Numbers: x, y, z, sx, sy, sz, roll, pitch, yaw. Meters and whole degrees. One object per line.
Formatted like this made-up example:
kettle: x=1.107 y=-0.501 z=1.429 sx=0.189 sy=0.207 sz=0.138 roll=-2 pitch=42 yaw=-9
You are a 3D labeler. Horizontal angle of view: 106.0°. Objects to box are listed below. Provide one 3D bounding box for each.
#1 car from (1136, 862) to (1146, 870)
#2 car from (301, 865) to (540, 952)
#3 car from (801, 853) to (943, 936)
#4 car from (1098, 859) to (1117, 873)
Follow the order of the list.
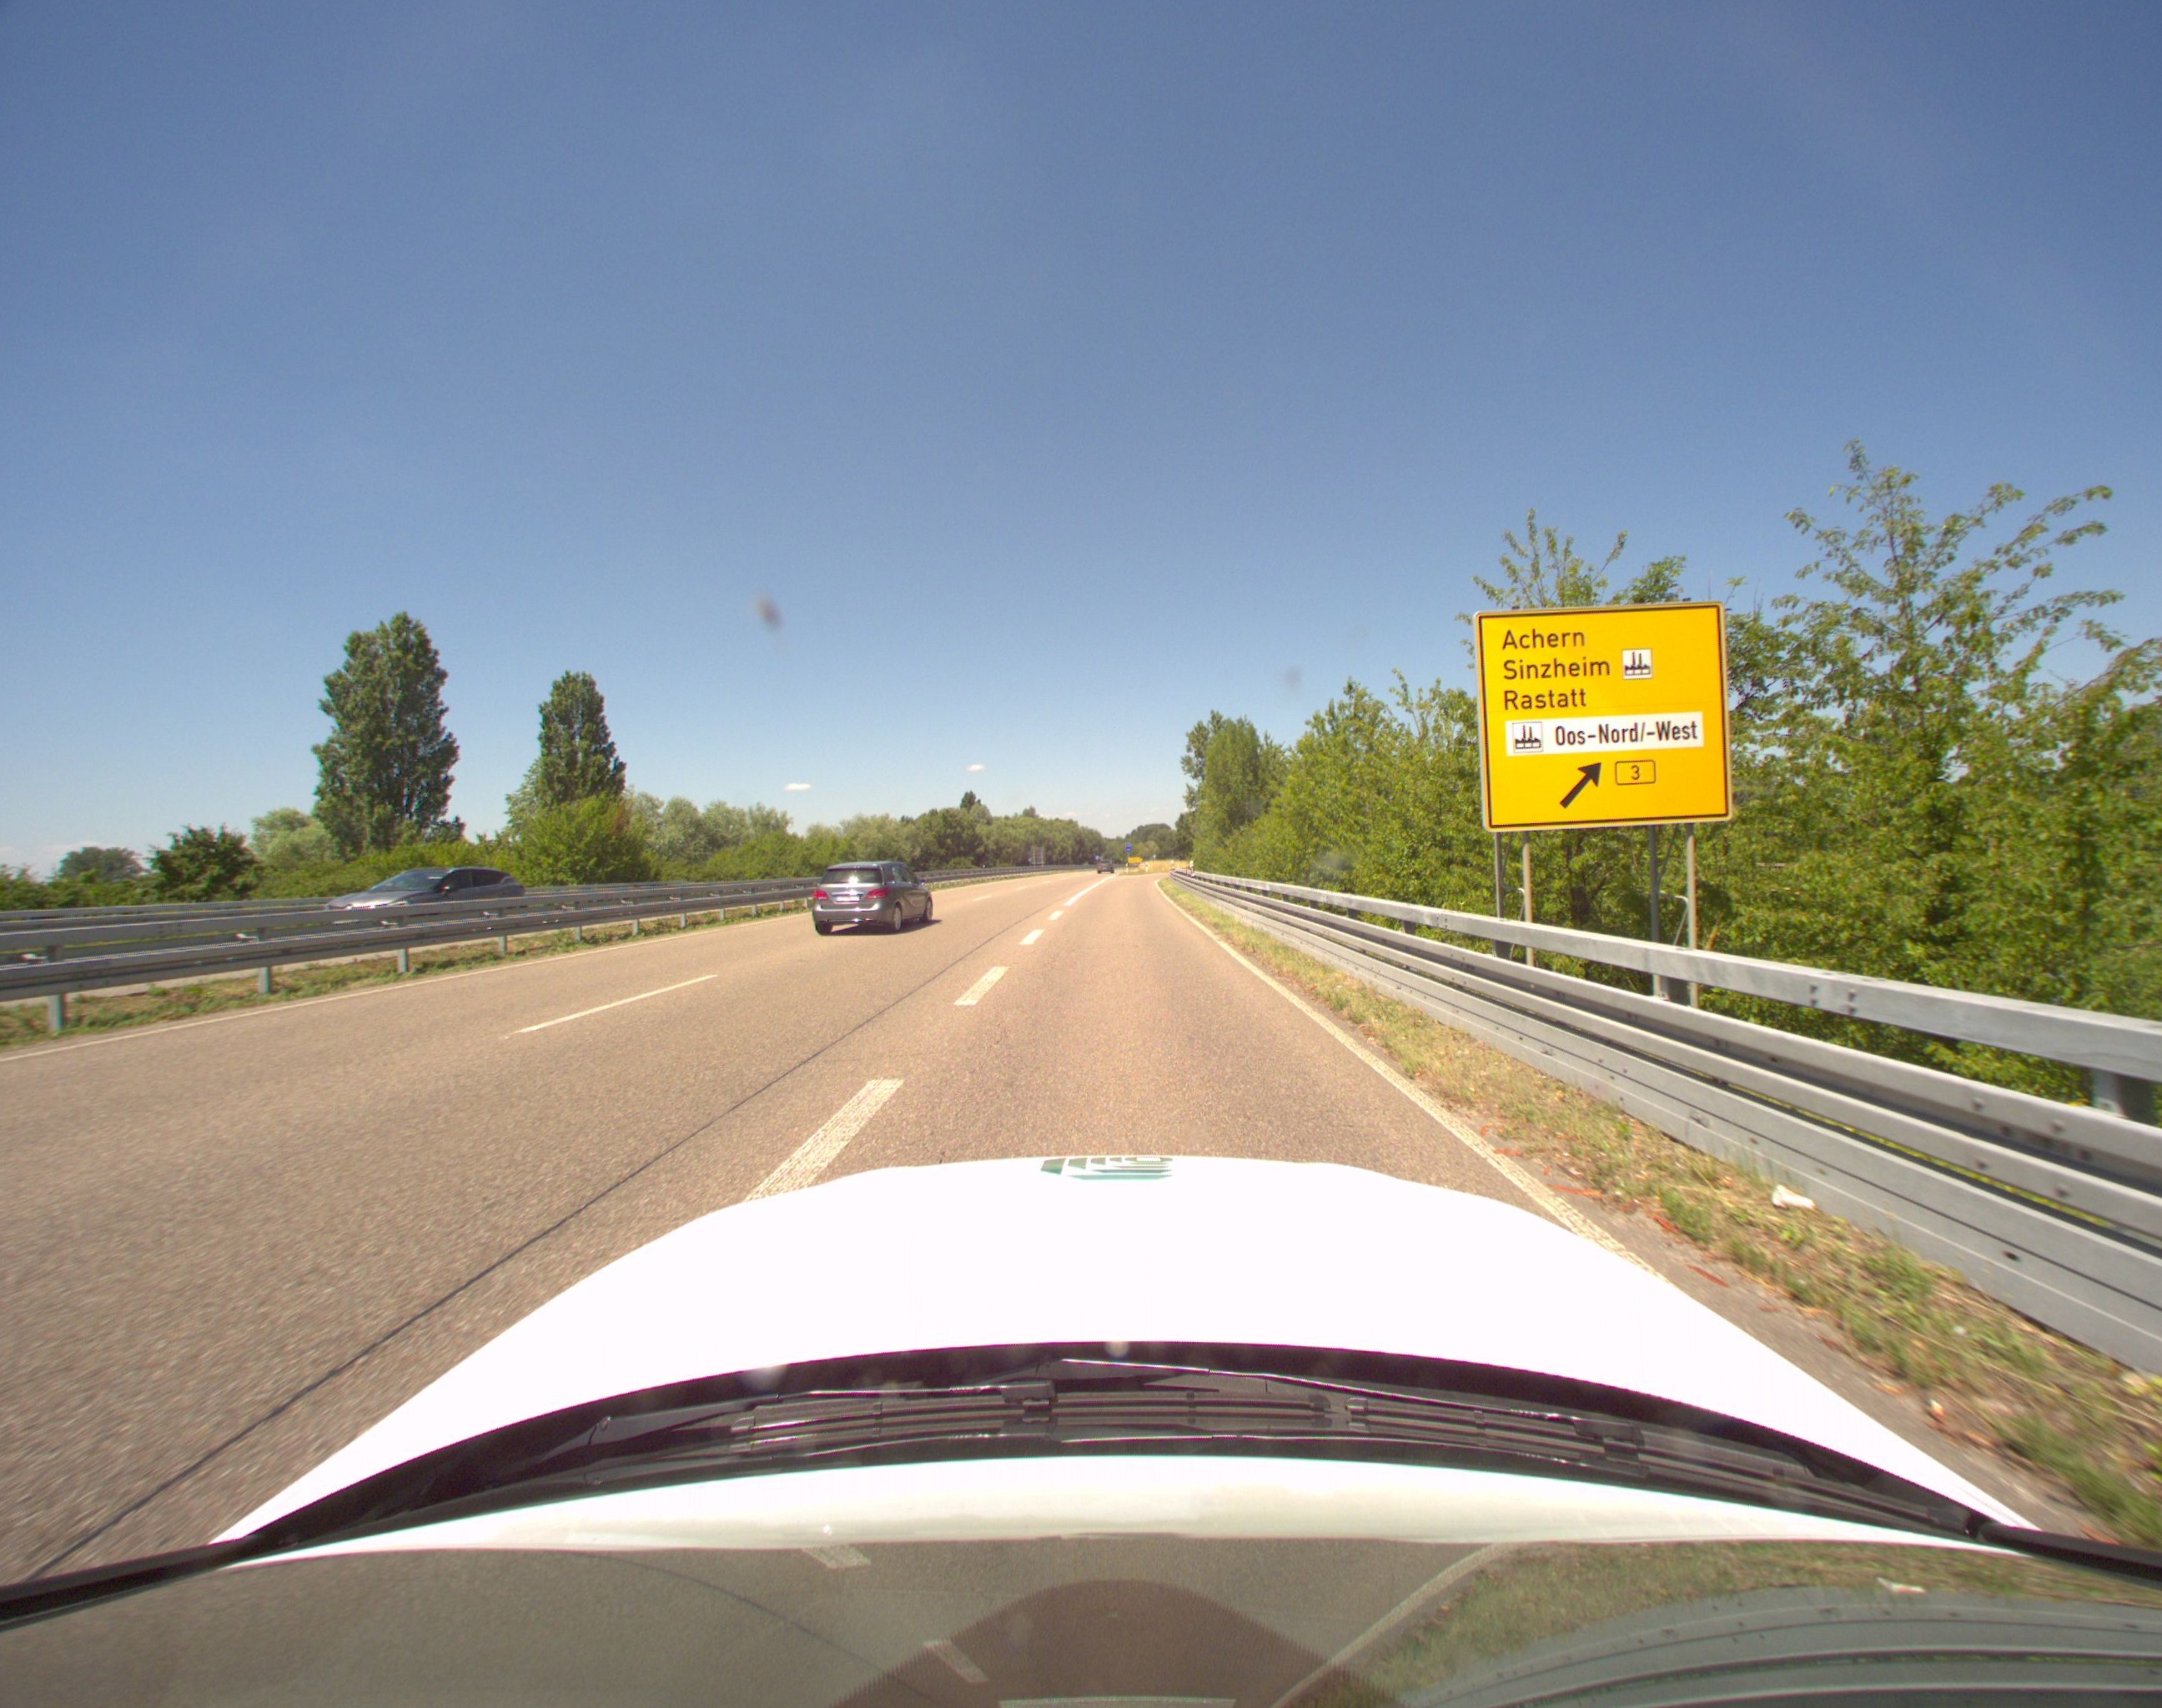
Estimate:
car: x=12.049 y=2.426 z=163.527 sx=1.831 sy=1.464 sz=4.009 roll=-1 pitch=1 yaw=8
car: x=-14.575 y=1.112 z=18.343 sx=1.818 sy=1.647 sz=4.191 roll=-2 pitch=-1 yaw=2
car: x=-4.694 y=0.828 z=19.086 sx=1.784 sy=1.667 sz=4.560 roll=-1 pitch=0 yaw=5
car: x=3.110 y=1.373 z=95.622 sx=1.831 sy=1.530 sz=4.479 roll=-1 pitch=1 yaw=7
